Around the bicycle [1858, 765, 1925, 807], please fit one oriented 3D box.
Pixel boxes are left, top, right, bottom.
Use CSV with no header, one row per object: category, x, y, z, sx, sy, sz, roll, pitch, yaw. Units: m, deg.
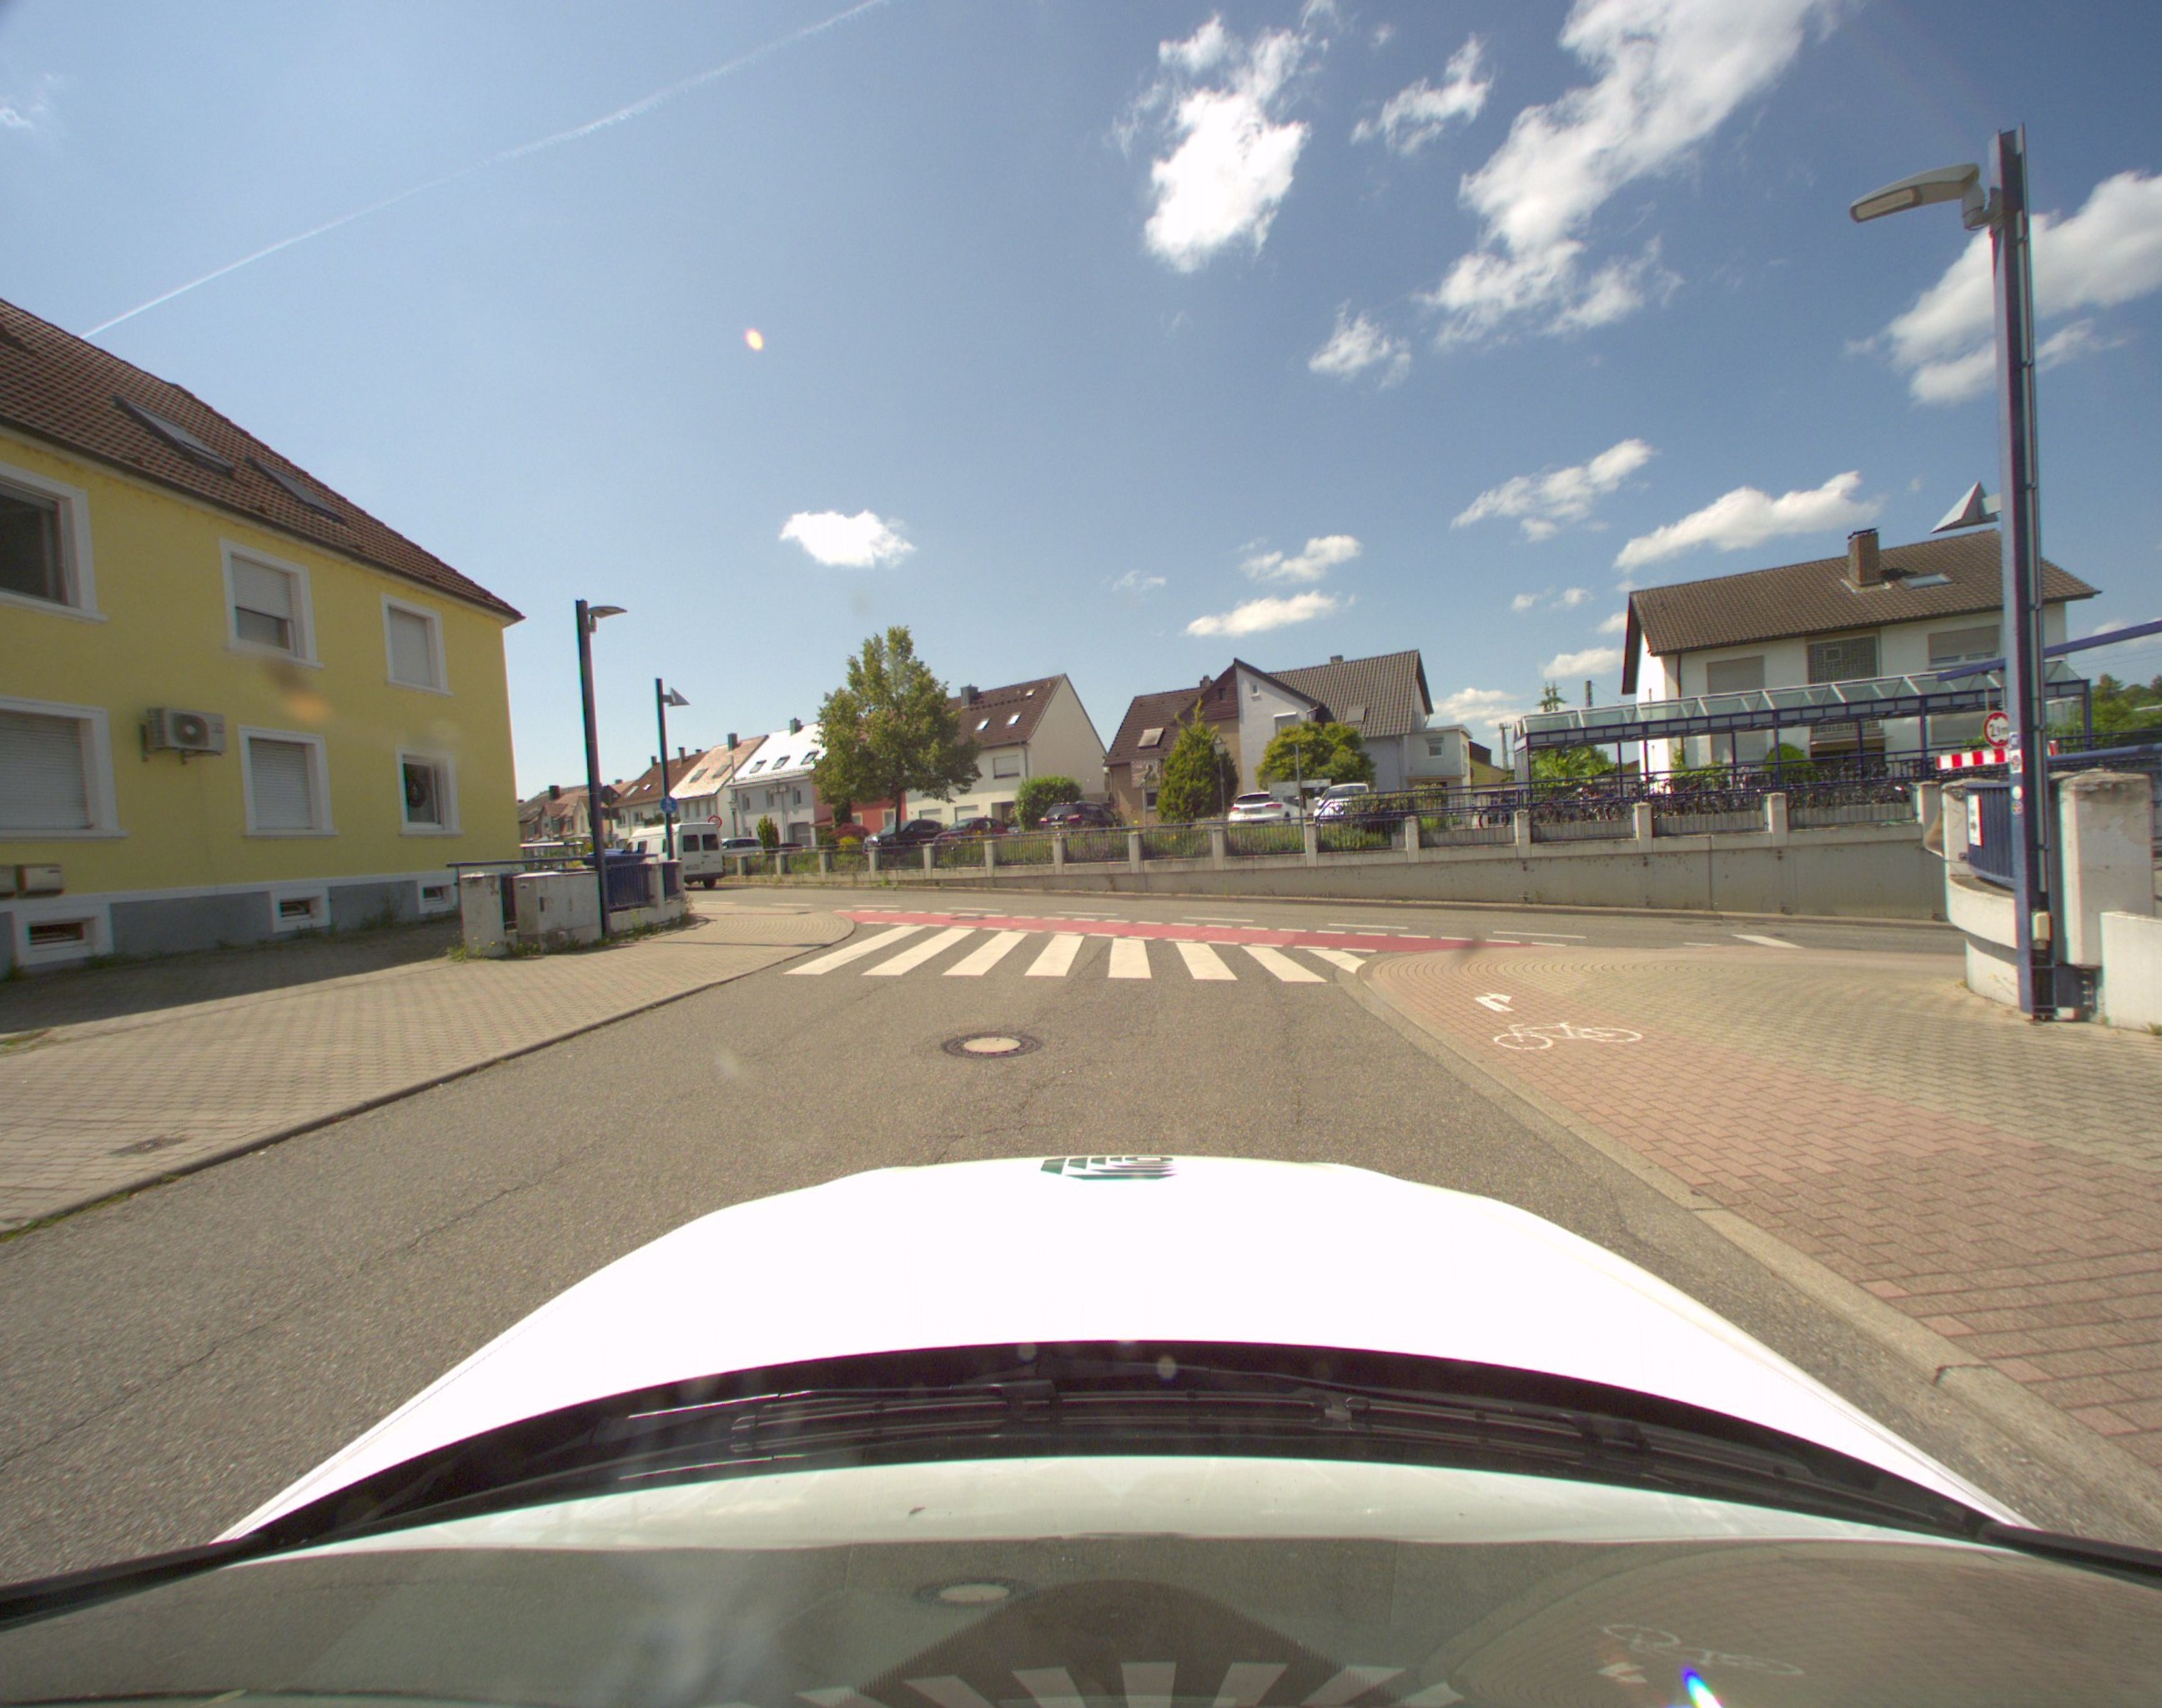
bicycle,21.175,-1.757,21.318,0.514,0.994,1.977,-2,2,23

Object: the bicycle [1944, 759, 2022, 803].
bicycle,22.746,-1.817,20.575,0.514,0.994,1.977,-2,2,23

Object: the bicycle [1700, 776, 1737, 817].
bicycle,16.379,-1.463,20.955,0.431,0.994,2.296,-2,2,31

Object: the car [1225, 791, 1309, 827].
car,6.086,-1.430,26.391,1.808,1.019,3.480,1,1,28

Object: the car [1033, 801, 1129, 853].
car,0.079,-0.972,30.091,1.850,1.797,4.025,1,1,28

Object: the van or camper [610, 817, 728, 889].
van or camper,-16.395,-0.040,32.296,5.324,2.630,2.017,0,0,37

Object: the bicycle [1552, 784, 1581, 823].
bicycle,13.320,-1.377,22.362,0.329,0.994,2.087,-2,2,22

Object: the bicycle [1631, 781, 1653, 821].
bicycle,14.750,-1.392,21.435,0.431,0.994,2.116,-2,2,34

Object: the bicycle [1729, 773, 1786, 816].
bicycle,17.038,-1.486,20.566,0.527,0.994,2.295,-2,2,25

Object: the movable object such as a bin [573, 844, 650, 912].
movable object such as a bin,-8.989,0.437,15.648,0.840,1.213,1.272,-3,1,-11

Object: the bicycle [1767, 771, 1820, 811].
bicycle,19.309,-1.682,22.114,0.514,0.994,1.812,-2,2,23

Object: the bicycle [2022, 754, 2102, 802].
bicycle,22.265,-1.700,18.519,0.538,0.994,2.052,-2,2,32

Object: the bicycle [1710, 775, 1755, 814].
bicycle,17.980,-1.624,22.511,0.410,0.994,1.977,-2,2,23

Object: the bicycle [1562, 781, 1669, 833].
bicycle,12.827,-1.109,19.606,2.096,1.125,0.394,-2,1,22

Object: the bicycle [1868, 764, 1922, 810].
bicycle,19.414,-1.579,19.463,0.573,0.994,2.202,-2,2,36

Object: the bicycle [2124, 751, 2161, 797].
bicycle,24.095,-1.779,17.929,0.538,0.994,2.051,-2,2,26

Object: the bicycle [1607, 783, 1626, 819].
bicycle,15.611,-1.536,23.753,0.369,0.994,1.979,-2,2,32

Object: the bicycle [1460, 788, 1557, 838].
bicycle,10.702,-1.022,20.449,2.096,1.125,0.335,-2,1,22

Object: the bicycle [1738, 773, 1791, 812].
bicycle,18.645,-1.651,22.260,0.514,0.994,1.977,-2,2,23

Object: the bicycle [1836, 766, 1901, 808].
bicycle,20.559,-1.724,21.296,0.514,0.994,1.977,-2,2,23

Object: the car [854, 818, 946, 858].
car,-7.564,-0.673,34.276,1.850,1.586,3.632,1,1,28

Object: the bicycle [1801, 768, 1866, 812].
bicycle,18.726,-1.567,20.303,0.527,0.994,2.201,-2,2,25

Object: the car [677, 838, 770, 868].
car,-19.040,-0.089,43.583,1.725,1.488,4.284,2,1,35

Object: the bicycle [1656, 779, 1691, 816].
bicycle,16.835,-1.583,23.165,0.422,0.994,1.978,-2,2,26

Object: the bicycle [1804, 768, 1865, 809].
bicycle,19.858,-1.693,21.510,0.514,0.994,1.977,-2,2,23

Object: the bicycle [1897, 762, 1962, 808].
bicycle,20.239,-1.622,19.474,0.510,0.994,2.052,-2,2,30

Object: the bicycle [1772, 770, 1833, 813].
bicycle,18.005,-1.531,20.364,0.527,0.994,2.201,-2,2,25

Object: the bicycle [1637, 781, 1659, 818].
bicycle,16.191,-1.552,23.281,0.369,0.994,1.979,-2,2,32

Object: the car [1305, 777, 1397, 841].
car,8.416,-1.312,25.180,1.975,1.797,4.222,1,1,28

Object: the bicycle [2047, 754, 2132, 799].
bicycle,24.380,-1.845,19.731,0.538,0.994,2.052,-2,2,29

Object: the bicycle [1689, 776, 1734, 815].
bicycle,17.550,-1.607,22.709,0.469,0.994,1.977,-2,2,23

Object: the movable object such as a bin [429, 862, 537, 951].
movable object such as a bin,-8.995,0.770,12.285,0.881,1.225,0.903,-3,1,4

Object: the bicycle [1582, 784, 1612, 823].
bicycle,13.749,-1.347,21.689,0.431,0.994,2.116,-2,2,39

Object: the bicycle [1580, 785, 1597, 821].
bicycle,14.760,-1.489,23.691,0.369,0.994,1.979,-2,2,32

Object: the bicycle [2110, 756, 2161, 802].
bicycle,24.085,-1.685,18.133,0.432,0.994,2.174,-2,2,22

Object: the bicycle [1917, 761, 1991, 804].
bicycle,22.242,-1.797,20.787,0.514,0.994,1.977,-2,2,23

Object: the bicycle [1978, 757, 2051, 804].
bicycle,21.503,-1.669,18.800,0.510,0.994,2.052,-2,2,32

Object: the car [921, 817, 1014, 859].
car,-4.411,-0.639,32.187,1.850,1.586,3.632,1,1,28

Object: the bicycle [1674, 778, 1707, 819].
bicycle,15.860,-1.443,21.210,0.431,0.994,2.296,-2,2,31

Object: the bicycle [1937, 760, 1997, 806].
bicycle,20.894,-1.649,19.236,0.510,0.994,2.052,-2,2,35

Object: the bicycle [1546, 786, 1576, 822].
bicycle,14.075,-1.458,23.841,0.451,0.994,1.900,-2,2,39
